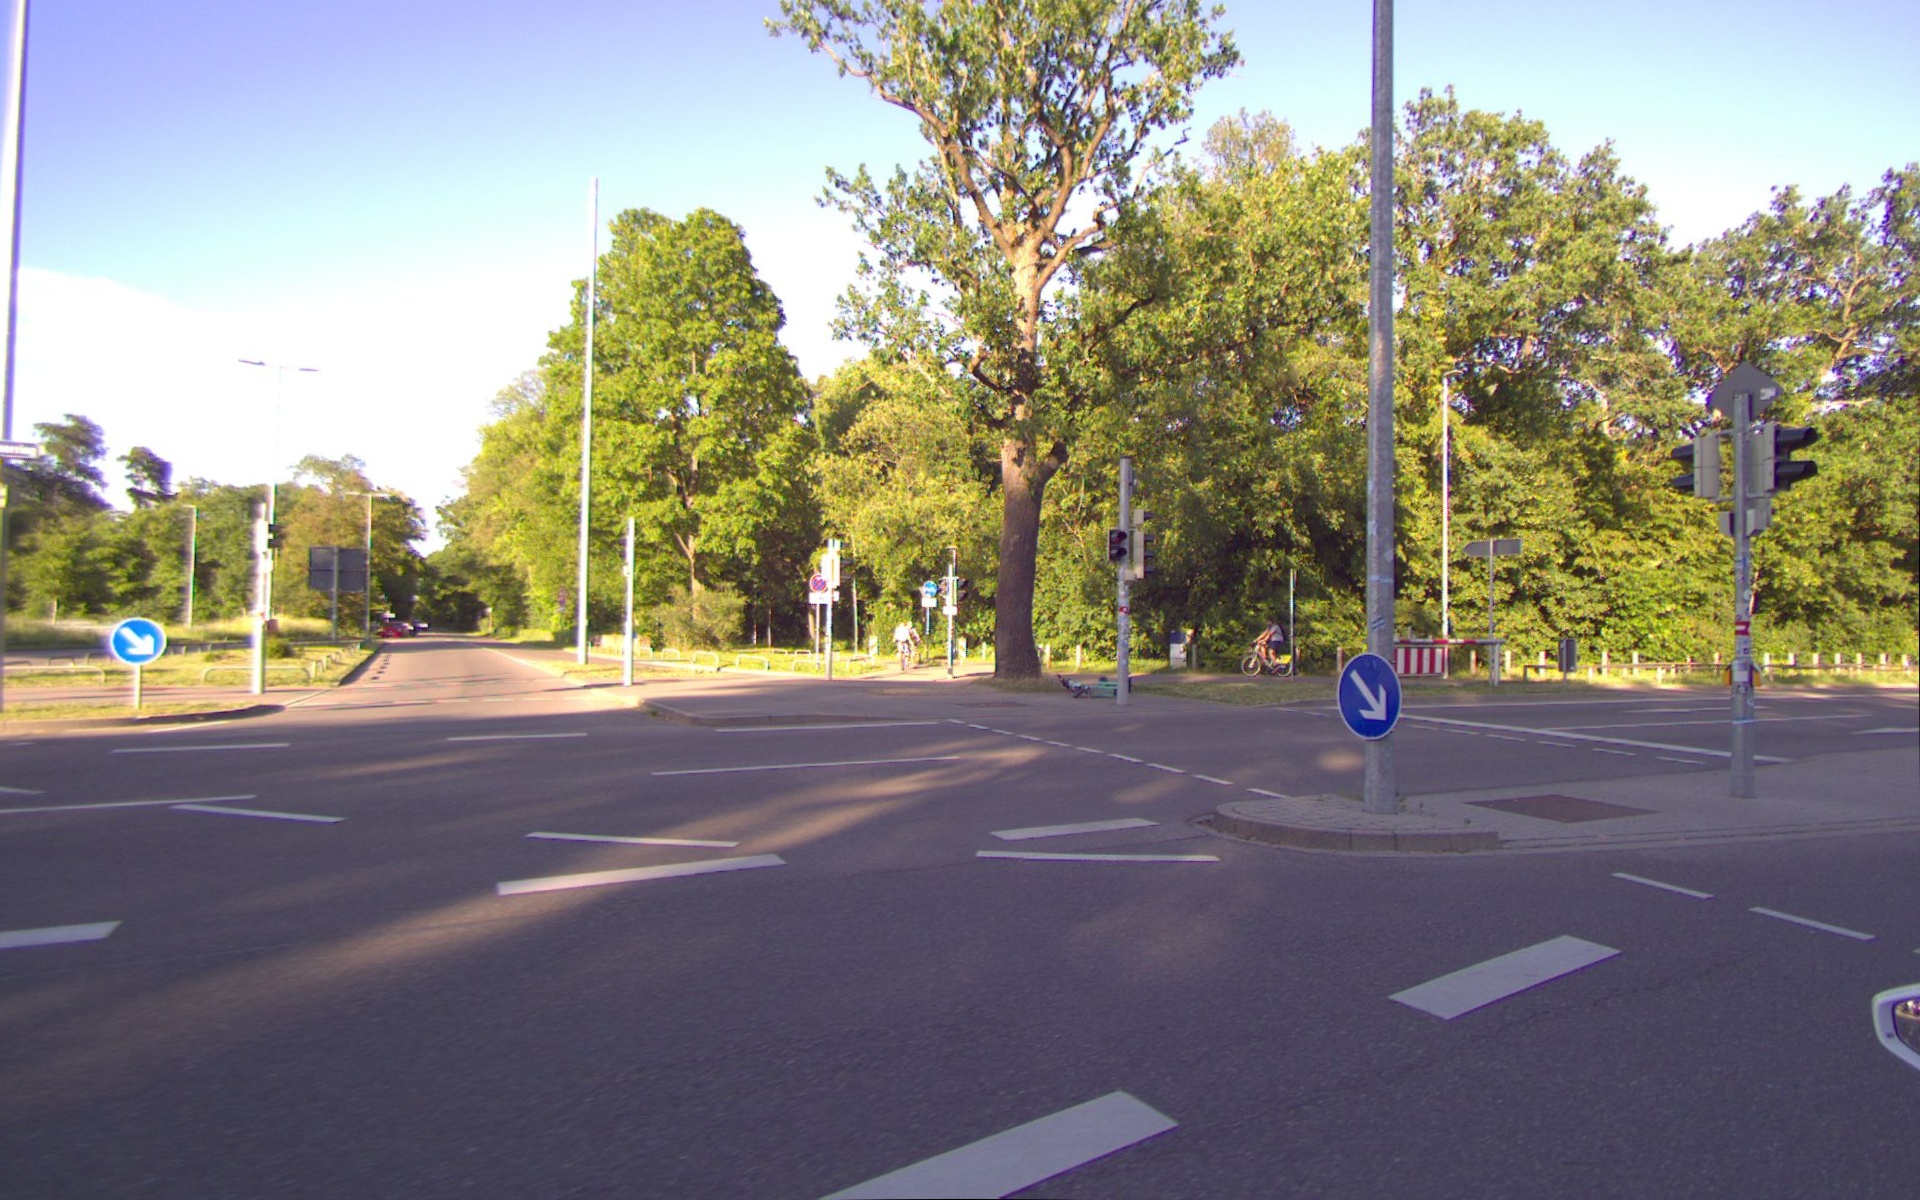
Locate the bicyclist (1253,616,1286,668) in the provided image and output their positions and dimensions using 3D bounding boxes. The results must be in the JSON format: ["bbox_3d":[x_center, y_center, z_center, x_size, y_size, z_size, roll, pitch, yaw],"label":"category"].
[{"bbox_3d":[9.666,1.297,31.373,0.786,1.572,0.563,-1,0,-10],"label":"bicyclist"}]

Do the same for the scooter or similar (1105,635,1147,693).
[{"bbox_3d":[3.422,1.308,20.787,0.388,1.162,1.066,0,-1,-19],"label":"scooter or similar"}]

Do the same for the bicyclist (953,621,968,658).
[{"bbox_3d":[0.016,1.536,38.941,0.509,1.419,0.529,2,0,-2],"label":"bicyclist"}]

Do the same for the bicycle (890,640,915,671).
[{"bbox_3d":[-2.050,1.957,35.667,0.770,0.990,1.589,2,0,-6],"label":"bicycle"}]

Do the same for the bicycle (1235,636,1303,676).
[{"bbox_3d":[9.656,1.740,31.387,1.948,1.169,0.681,0,0,-10],"label":"bicycle"}]

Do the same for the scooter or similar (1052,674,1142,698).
[{"bbox_3d":[2.628,1.657,19.460,1.240,0.344,1.406,0,-1,-20],"label":"scooter or similar"}]

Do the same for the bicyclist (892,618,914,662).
[{"bbox_3d":[-2.035,1.416,35.683,0.716,1.502,0.799,2,0,-6],"label":"bicyclist"}]

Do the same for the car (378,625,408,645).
[{"bbox_3d":[-47.901,2.933,84.905,1.633,1.530,3.979,2,0,-22],"label":"car"}]

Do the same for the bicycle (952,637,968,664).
[{"bbox_3d":[-0.001,1.944,38.917,0.512,0.990,1.355,2,0,-2],"label":"bicycle"}]
